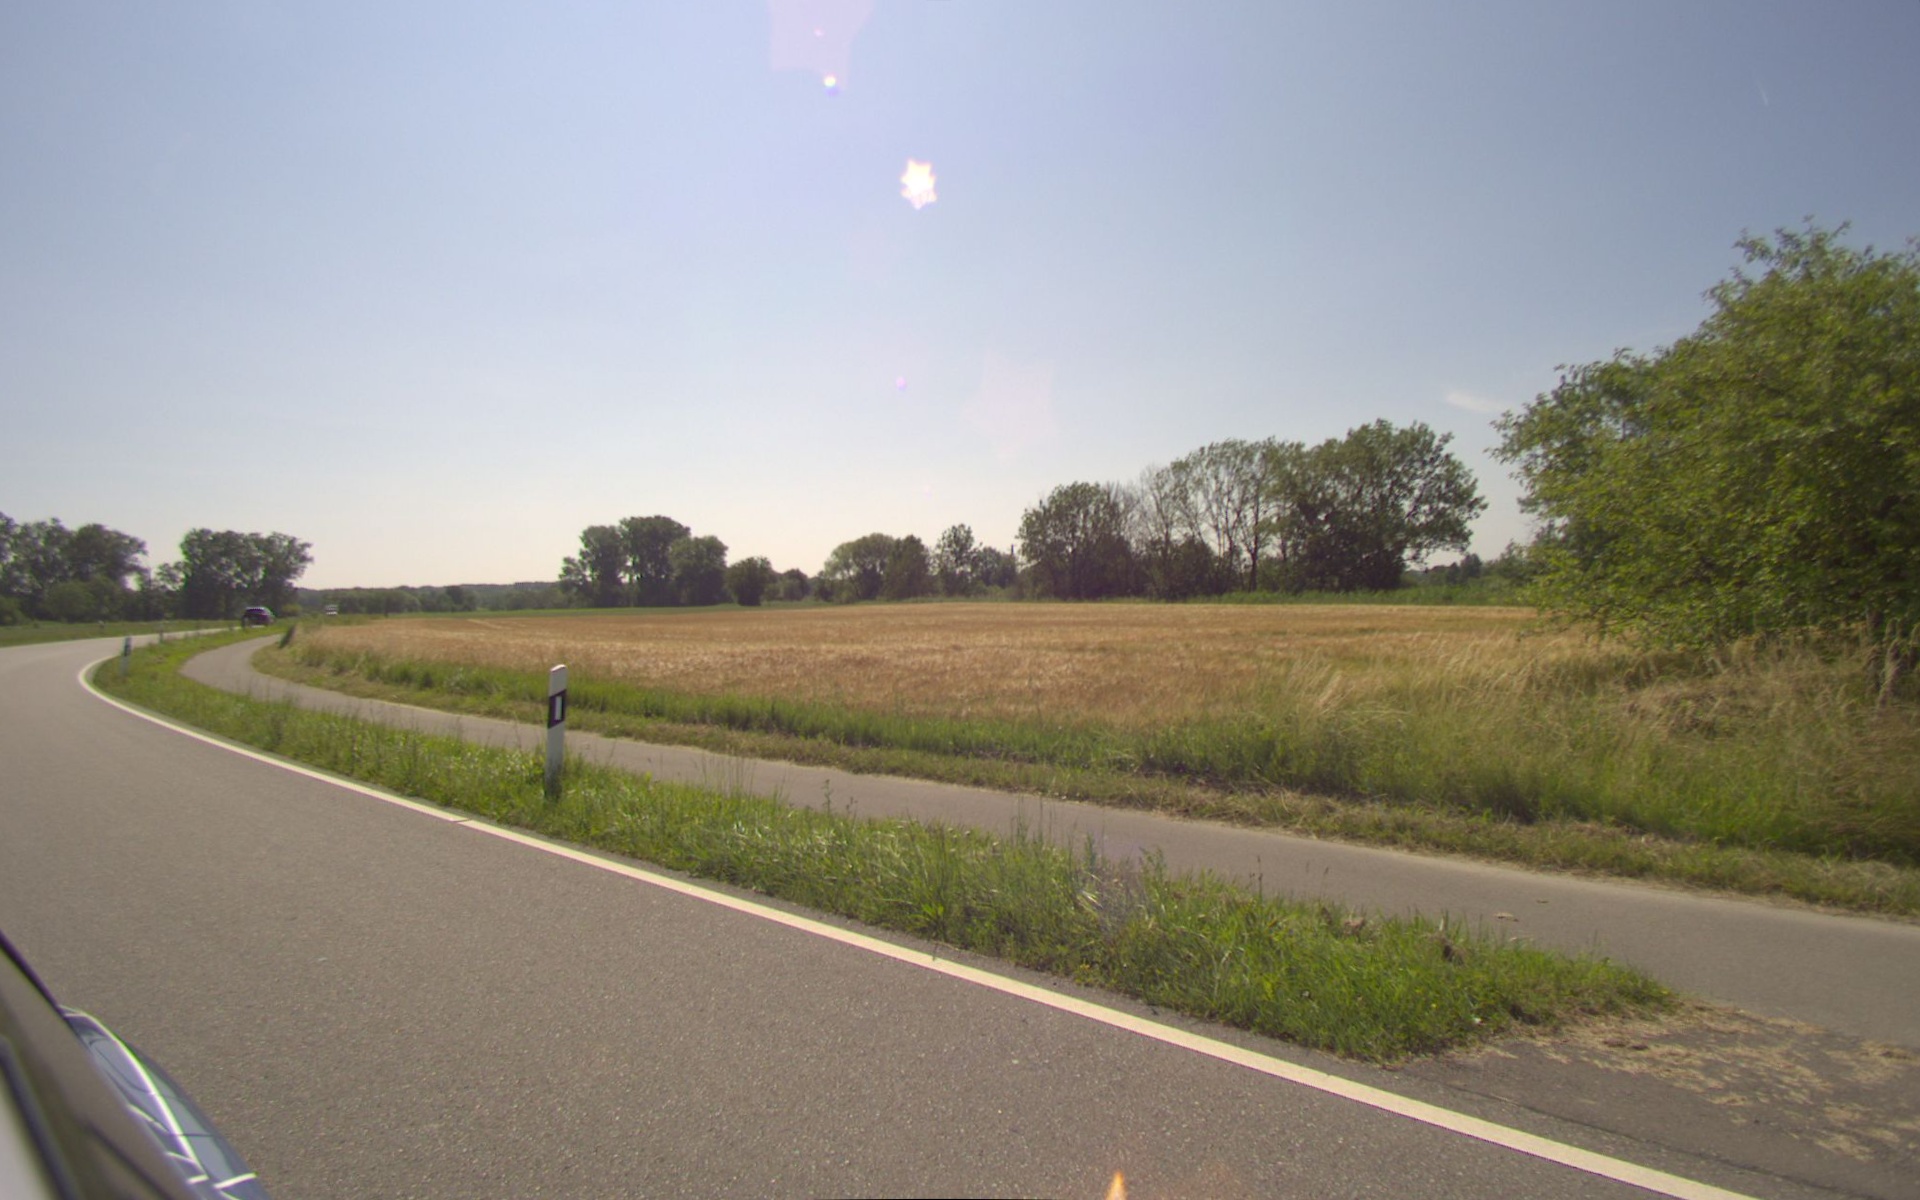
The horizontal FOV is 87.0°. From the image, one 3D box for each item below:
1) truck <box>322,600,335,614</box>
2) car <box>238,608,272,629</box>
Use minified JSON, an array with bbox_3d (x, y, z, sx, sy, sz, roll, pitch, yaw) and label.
[{"bbox_3d":[-138.007,1.523,221.293,1.965,2.859,5.234,-2,0,-27],"label":"truck"},{"bbox_3d":[-59.237,1.554,85.056,1.860,1.728,4.027,-1,-1,-27],"label":"car"}]
